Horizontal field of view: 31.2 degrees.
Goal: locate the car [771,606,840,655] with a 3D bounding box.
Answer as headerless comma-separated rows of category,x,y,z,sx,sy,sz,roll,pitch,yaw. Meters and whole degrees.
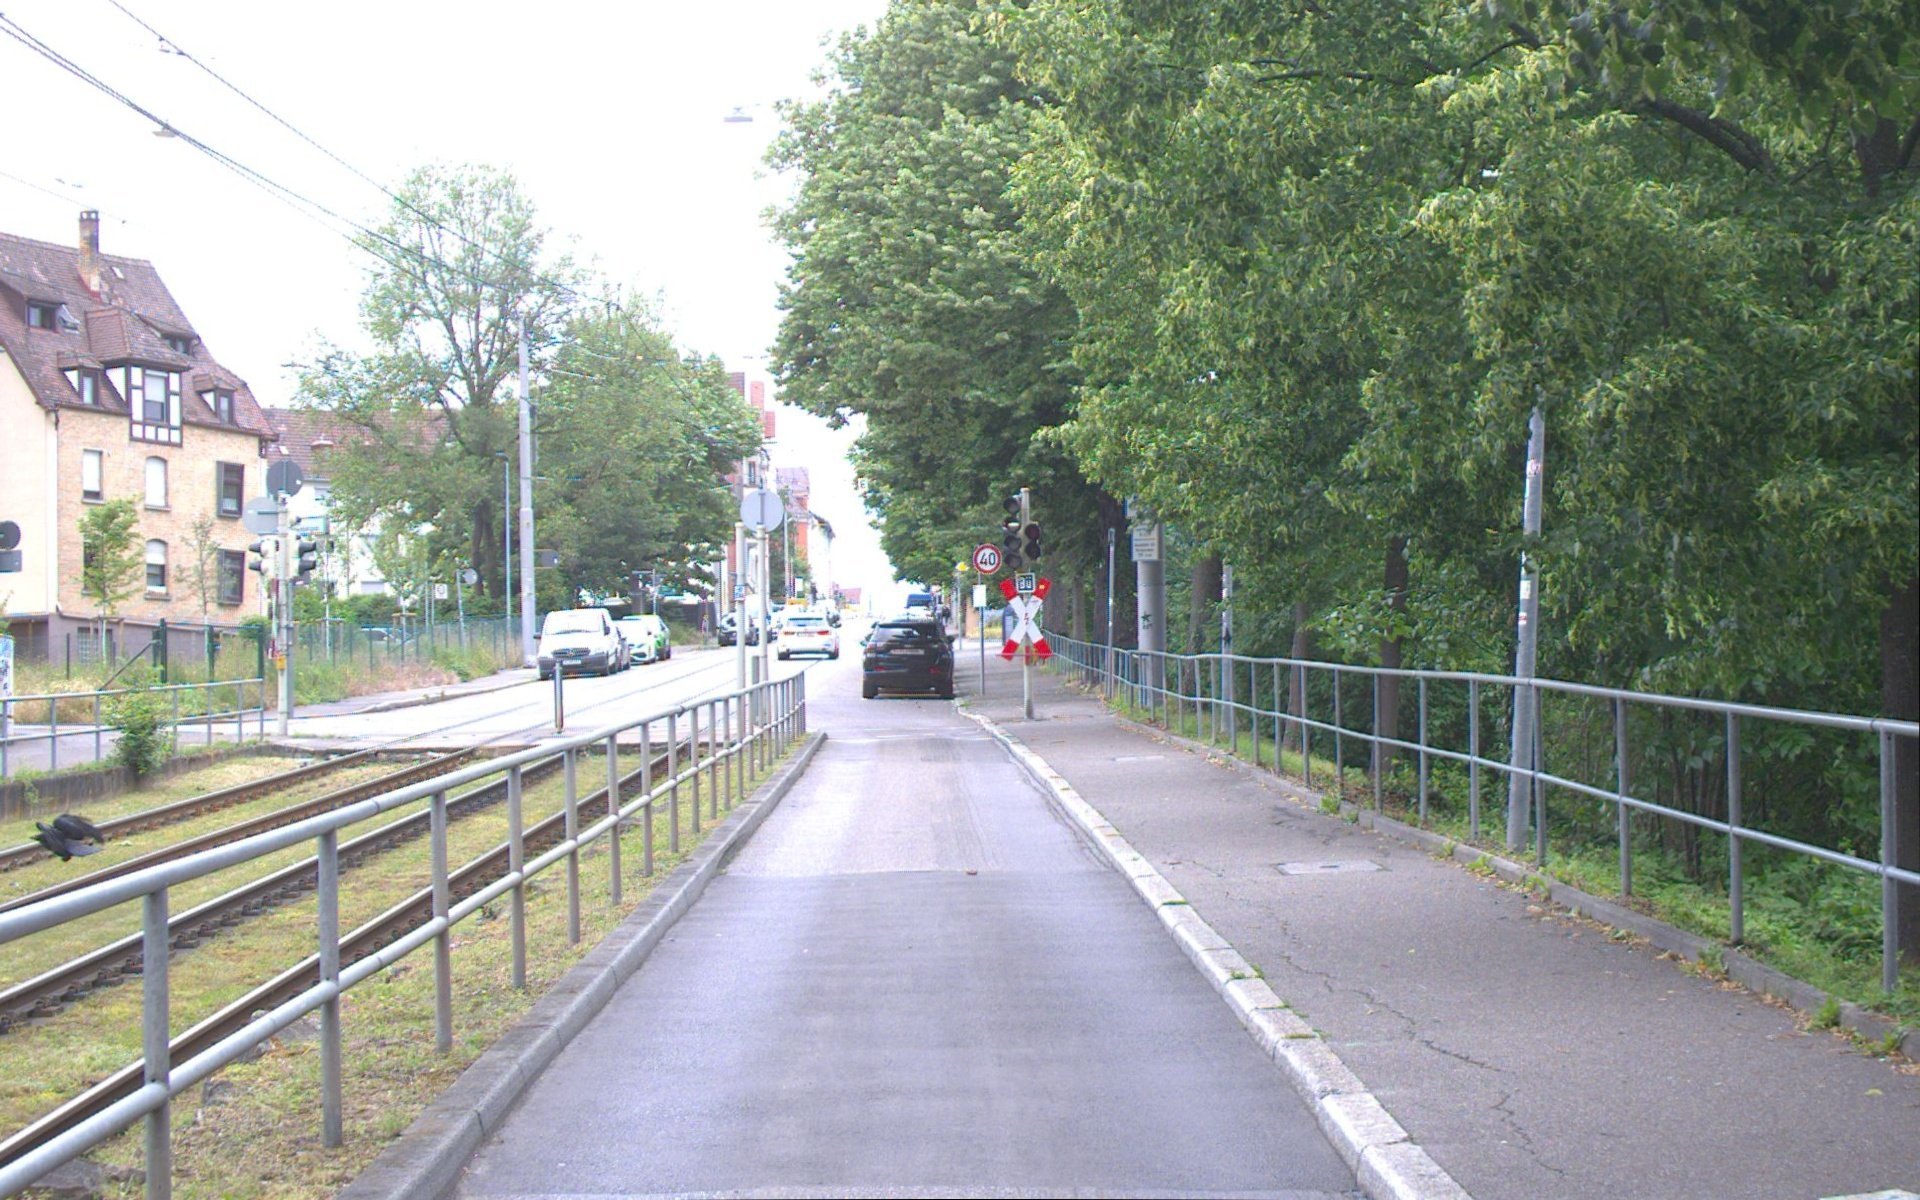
car,-4.810,0.967,107.569,1.993,1.493,4.312,0,-1,-1

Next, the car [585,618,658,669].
car,-10.793,1.385,109.893,1.885,1.521,4.663,-2,-1,-1

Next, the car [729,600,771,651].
car,-11.648,1.438,190.648,2.230,2.755,5.800,0,-1,-3

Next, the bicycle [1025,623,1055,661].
bicycle,2.082,1.091,89.336,0.427,0.972,1.795,0,-1,-10

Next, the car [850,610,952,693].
car,-1.159,1.019,69.736,1.904,1.609,4.600,1,0,1

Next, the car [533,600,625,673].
car,-10.563,1.032,95.604,2.035,1.875,4.885,-3,-1,-2

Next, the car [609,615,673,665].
car,-10.716,1.334,115.689,1.723,1.574,4.180,-2,0,0

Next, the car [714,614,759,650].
car,-11.445,1.671,176.152,1.993,1.802,4.000,0,-1,1
